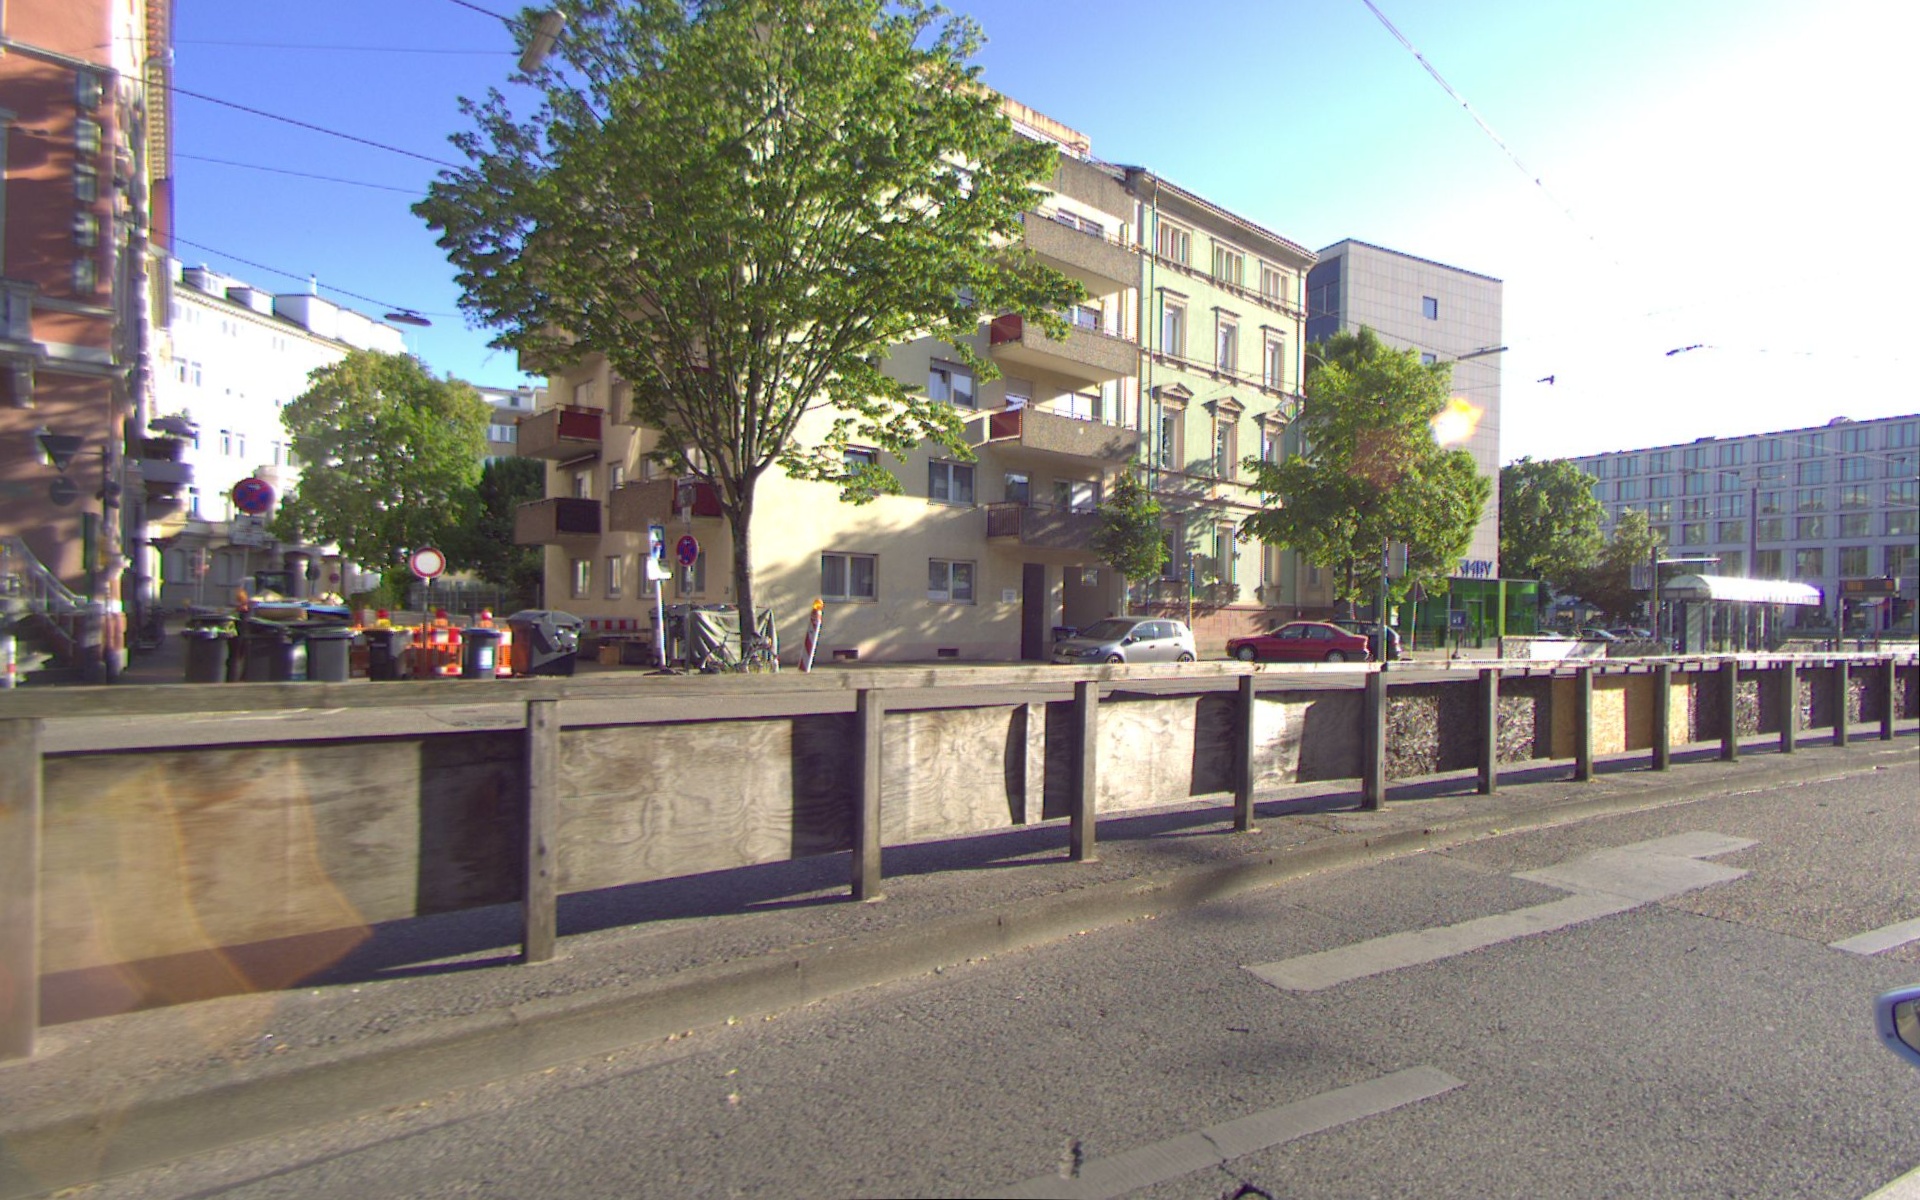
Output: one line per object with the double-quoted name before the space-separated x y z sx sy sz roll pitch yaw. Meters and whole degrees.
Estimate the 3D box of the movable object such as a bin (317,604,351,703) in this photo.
"movable object such as a bin" -9.368 0.791 15.038 0.383 1.446 0.378 1 0 -29

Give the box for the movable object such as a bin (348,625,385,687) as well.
"movable object such as a bin" -10.902 1.019 18.447 0.547 1.113 0.377 1 0 -35

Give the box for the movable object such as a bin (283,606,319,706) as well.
"movable object such as a bin" -9.678 0.813 14.766 0.381 1.446 0.378 1 0 -29

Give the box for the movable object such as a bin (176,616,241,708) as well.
"movable object such as a bin" -10.198 0.837 13.650 0.632 1.219 0.378 1 0 -29

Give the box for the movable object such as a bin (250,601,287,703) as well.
"movable object such as a bin" -10.003 0.746 14.535 0.383 1.446 0.378 1 0 -29

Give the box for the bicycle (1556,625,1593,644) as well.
"bicycle" 42.168 2.355 68.916 0.873 1.305 2.044 1 -1 -22

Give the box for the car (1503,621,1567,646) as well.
"car" 38.668 2.253 67.616 1.504 1.526 3.514 1 0 -29

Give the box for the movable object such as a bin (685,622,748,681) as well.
"movable object such as a bin" -4.865 1.022 20.120 1.136 1.141 0.422 2 -1 -35

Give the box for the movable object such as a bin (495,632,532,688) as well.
"movable object such as a bin" -8.588 1.148 19.314 0.547 1.047 0.444 3 -1 -35

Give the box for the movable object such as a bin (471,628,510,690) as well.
"movable object such as a bin" -8.565 1.076 18.336 0.547 1.111 0.377 3 -1 -35

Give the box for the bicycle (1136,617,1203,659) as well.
"bicycle" 7.392 1.314 35.351 2.989 1.416 0.710 2 -1 -43

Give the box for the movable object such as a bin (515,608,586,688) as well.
"movable object such as a bin" -7.753 0.910 19.016 1.136 1.477 0.422 3 -1 -35

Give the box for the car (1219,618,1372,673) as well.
"car" 10.648 1.406 31.906 4.428 1.444 1.873 2 0 22

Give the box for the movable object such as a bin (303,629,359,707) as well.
"movable object such as a bin" -8.962 0.962 14.323 0.632 1.082 0.378 1 0 -29

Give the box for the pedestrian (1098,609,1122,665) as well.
"pedestrian" 4.543 1.111 30.437 0.485 1.694 0.507 1 -1 -35

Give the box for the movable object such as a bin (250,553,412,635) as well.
"movable object such as a bin" -25.184 -0.177 40.593 5.198 2.968 3.925 2 -1 -29

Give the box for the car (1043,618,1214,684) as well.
"car" 4.212 1.209 24.792 4.252 1.429 1.693 2 1 -37

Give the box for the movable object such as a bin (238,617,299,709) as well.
"movable object such as a bin" -9.647 0.867 14.024 0.632 1.258 0.378 1 0 -29

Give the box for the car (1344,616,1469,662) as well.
"car" 17.961 1.527 40.454 4.435 1.590 1.587 2 0 30

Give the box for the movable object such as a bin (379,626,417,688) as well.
"movable object such as a bin" -10.256 1.030 18.335 0.547 1.111 0.377 1 0 -35

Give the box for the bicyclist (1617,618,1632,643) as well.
"bicyclist" 43.550 1.984 65.812 0.585 1.603 0.618 1 -1 -18

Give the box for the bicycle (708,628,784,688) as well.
"bicycle" -4.109 1.104 19.330 1.388 1.131 0.262 1 0 -29

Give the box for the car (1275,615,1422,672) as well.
"car" 12.910 1.419 33.658 4.425 1.663 1.591 2 0 17

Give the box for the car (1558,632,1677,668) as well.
"car" 30.014 2.249 46.013 4.435 1.368 1.587 2 0 30

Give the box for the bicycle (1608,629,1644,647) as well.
"bicycle" 43.538 2.463 65.701 0.777 1.137 1.922 1 -1 -17

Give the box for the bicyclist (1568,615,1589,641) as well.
"bicyclist" 42.302 1.904 68.664 0.832 1.717 0.888 1 -1 -22

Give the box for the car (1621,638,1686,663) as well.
"car" 48.968 3.548 70.981 1.504 1.526 3.514 1 0 -29
